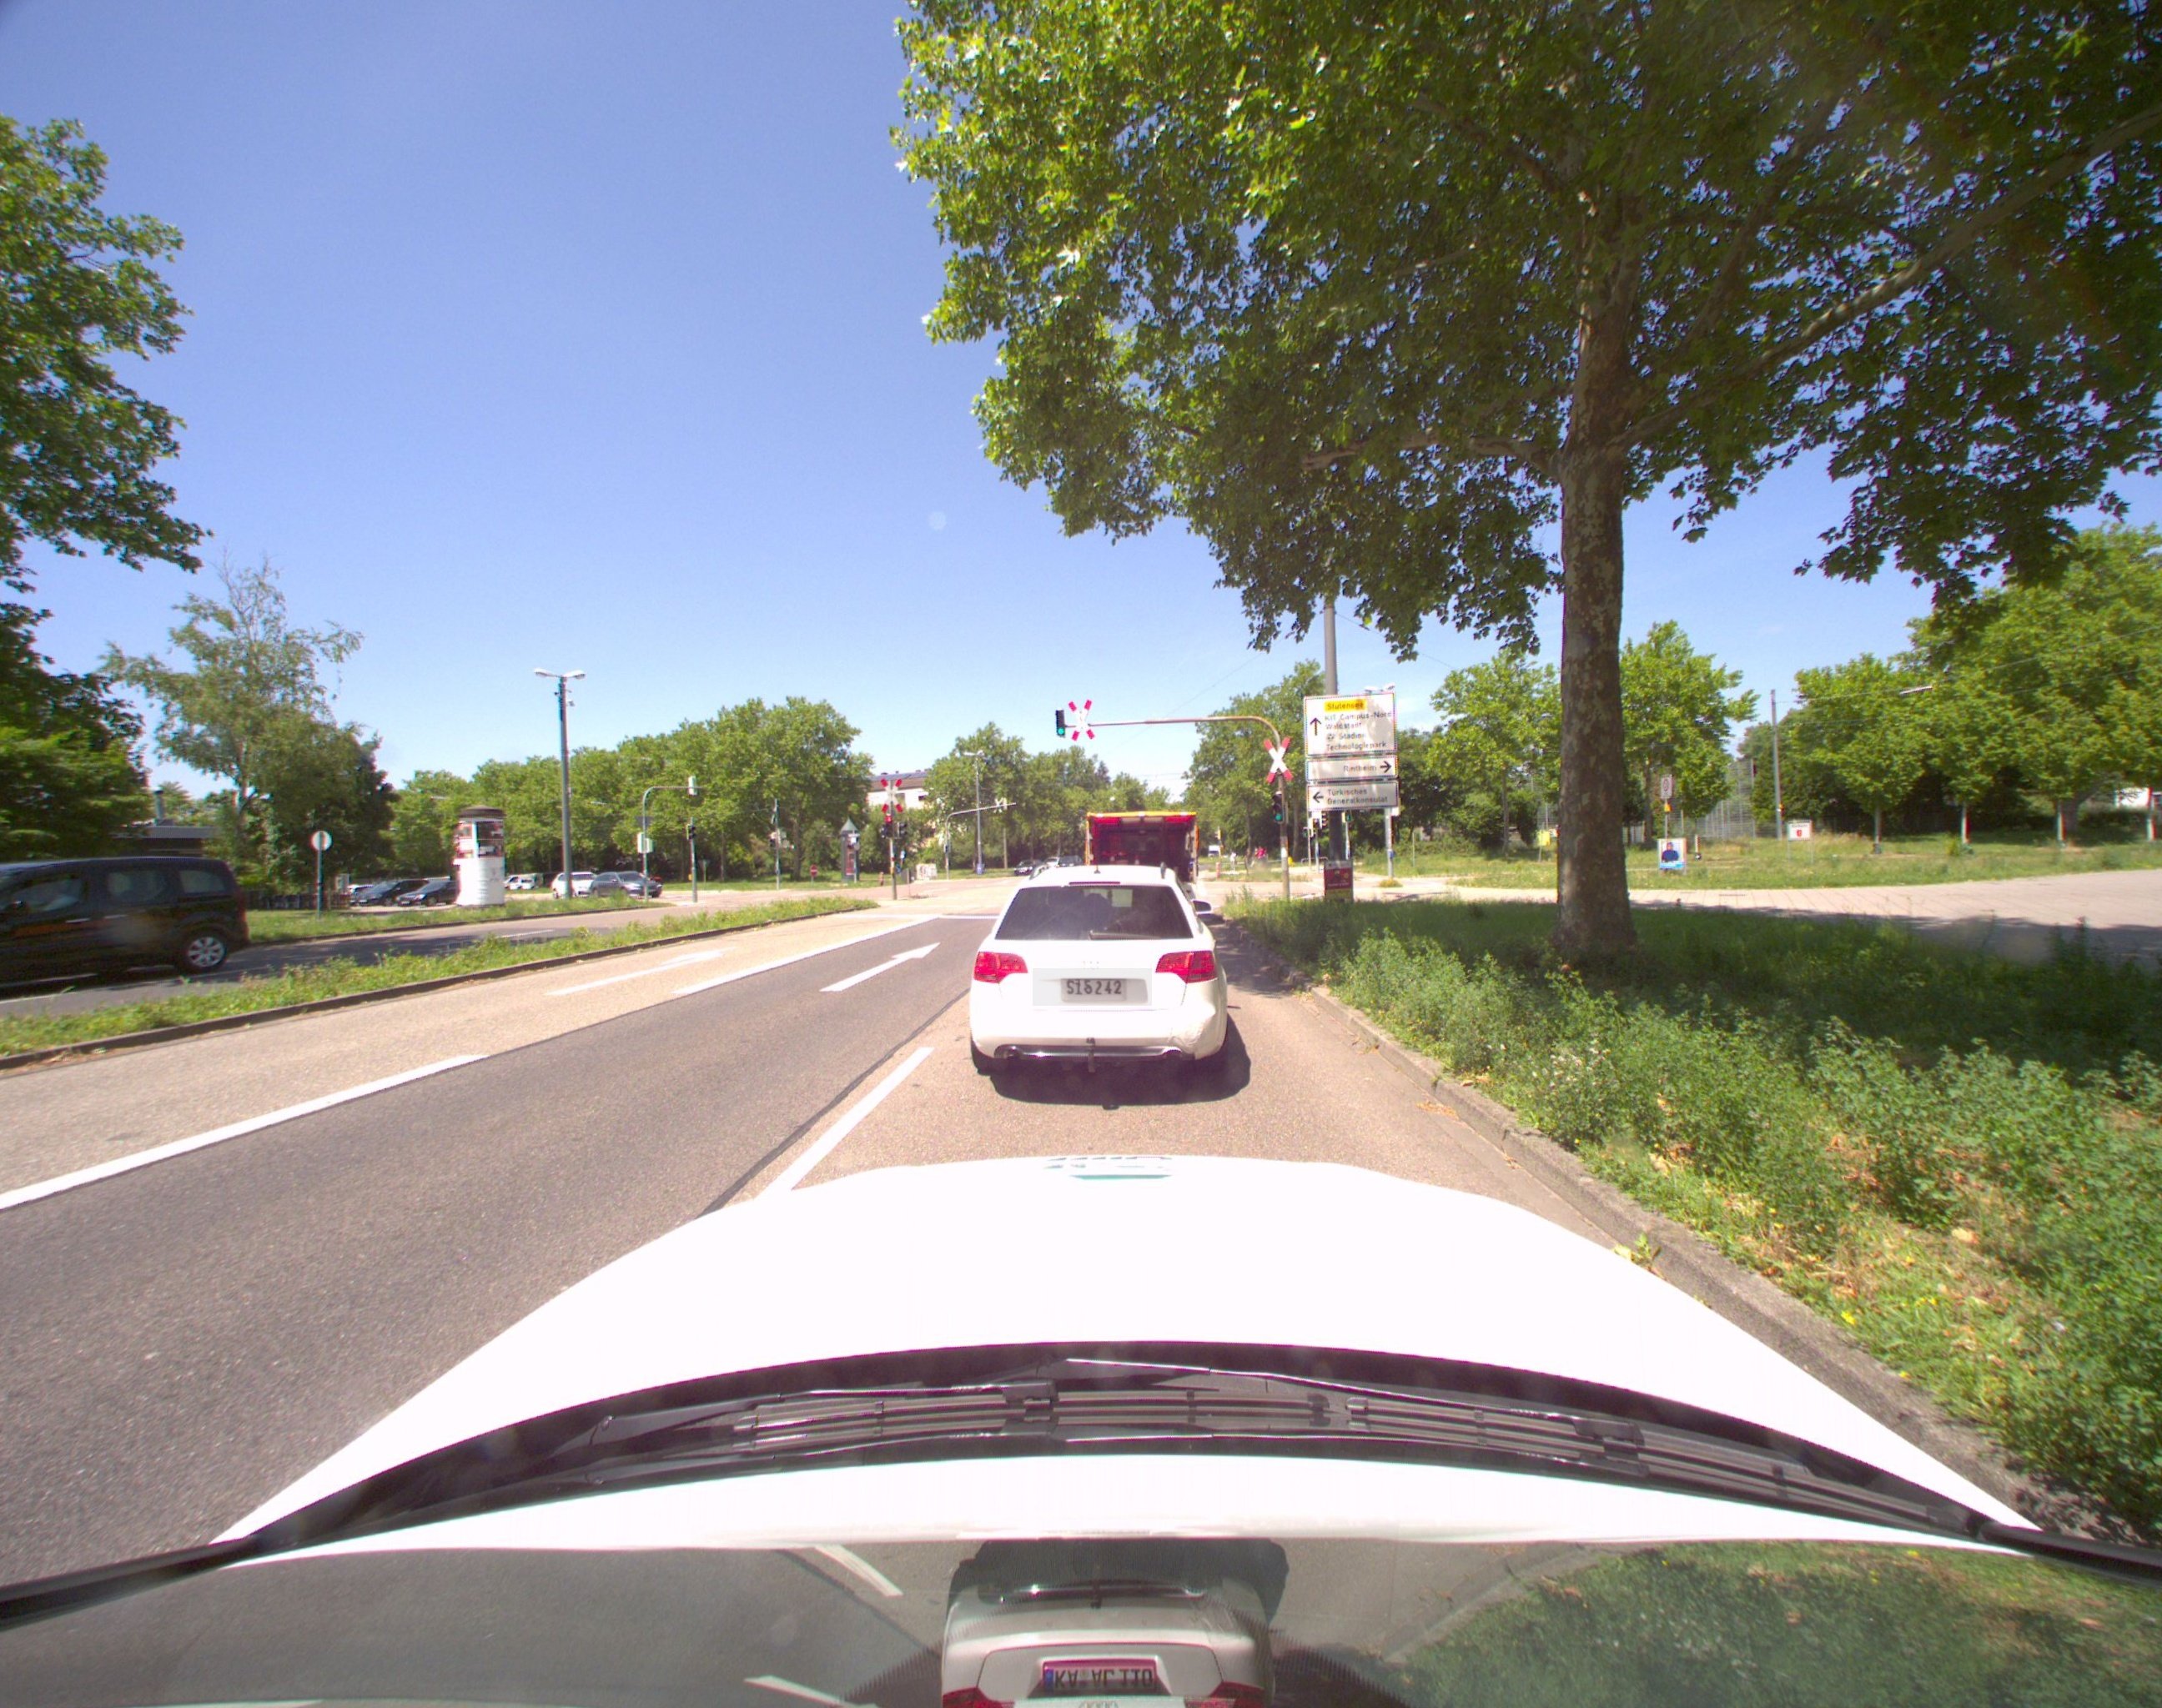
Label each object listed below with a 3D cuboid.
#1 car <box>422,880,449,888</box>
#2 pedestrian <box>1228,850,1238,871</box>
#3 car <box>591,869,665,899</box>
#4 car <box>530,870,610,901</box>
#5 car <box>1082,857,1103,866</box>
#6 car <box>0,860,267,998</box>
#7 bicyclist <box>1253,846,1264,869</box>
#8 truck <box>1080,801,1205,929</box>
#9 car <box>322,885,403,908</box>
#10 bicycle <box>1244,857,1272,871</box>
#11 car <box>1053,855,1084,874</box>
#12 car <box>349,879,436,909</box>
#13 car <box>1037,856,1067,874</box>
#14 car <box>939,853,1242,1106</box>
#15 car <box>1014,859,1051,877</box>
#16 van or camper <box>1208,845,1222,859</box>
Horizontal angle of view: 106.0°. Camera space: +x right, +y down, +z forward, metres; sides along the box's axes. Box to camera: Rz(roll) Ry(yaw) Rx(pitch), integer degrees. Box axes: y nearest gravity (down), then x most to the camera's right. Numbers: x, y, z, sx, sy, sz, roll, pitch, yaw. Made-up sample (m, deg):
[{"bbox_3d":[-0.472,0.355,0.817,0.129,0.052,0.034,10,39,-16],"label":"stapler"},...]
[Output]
[{"bbox_3d":[-88.137,4.123,111.242,0.996,0.994,2.738,-2,0,31],"label":"car"},{"bbox_3d":[10.857,0.462,58.248,0.548,1.484,0.632,-2,0,18],"label":"pedestrian"},{"bbox_3d":[-24.023,1.576,43.116,3.941,1.457,1.776,-2,0,34],"label":"car"},{"bbox_3d":[-29.407,1.820,46.860,4.403,1.604,2.231,-2,0,34],"label":"car"},{"bbox_3d":[1.997,1.343,139.356,1.864,1.393,4.025,-2,0,28],"label":"car"},{"bbox_3d":[-14.299,0.975,10.982,1.902,1.679,4.451,-2,0,6],"label":"car"},{"bbox_3d":[12.116,0.242,55.660,0.668,1.556,0.580,-2,0,6],"label":"bicyclist"},{"bbox_3d":[1.575,0.248,20.217,2.499,2.559,7.613,0,0,5],"label":"truck"},{"bbox_3d":[-51.828,3.033,58.855,1.930,1.423,4.070,-2,0,8],"label":"car"},{"bbox_3d":[12.101,0.667,55.652,1.796,0.895,0.590,-2,-1,7],"label":"bicycle"},{"bbox_3d":[-1.126,0.933,74.329,1.897,1.539,4.312,-2,0,11],"label":"car"},{"bbox_3d":[-44.758,2.562,53.091,1.769,1.651,4.201,-2,0,6],"label":"car"},{"bbox_3d":[-2.828,1.105,81.044,1.774,1.615,4.421,-2,0,14],"label":"car"},{"bbox_3d":[0.234,0.734,6.558,1.754,1.445,3.622,-1,0,6],"label":"car"},{"bbox_3d":[-4.358,1.273,73.921,1.935,1.440,4.765,-2,0,14],"label":"car"},{"bbox_3d":[33.089,-0.480,200.935,2.640,3.331,5.524,-2,0,16],"label":"van or camper"}]
